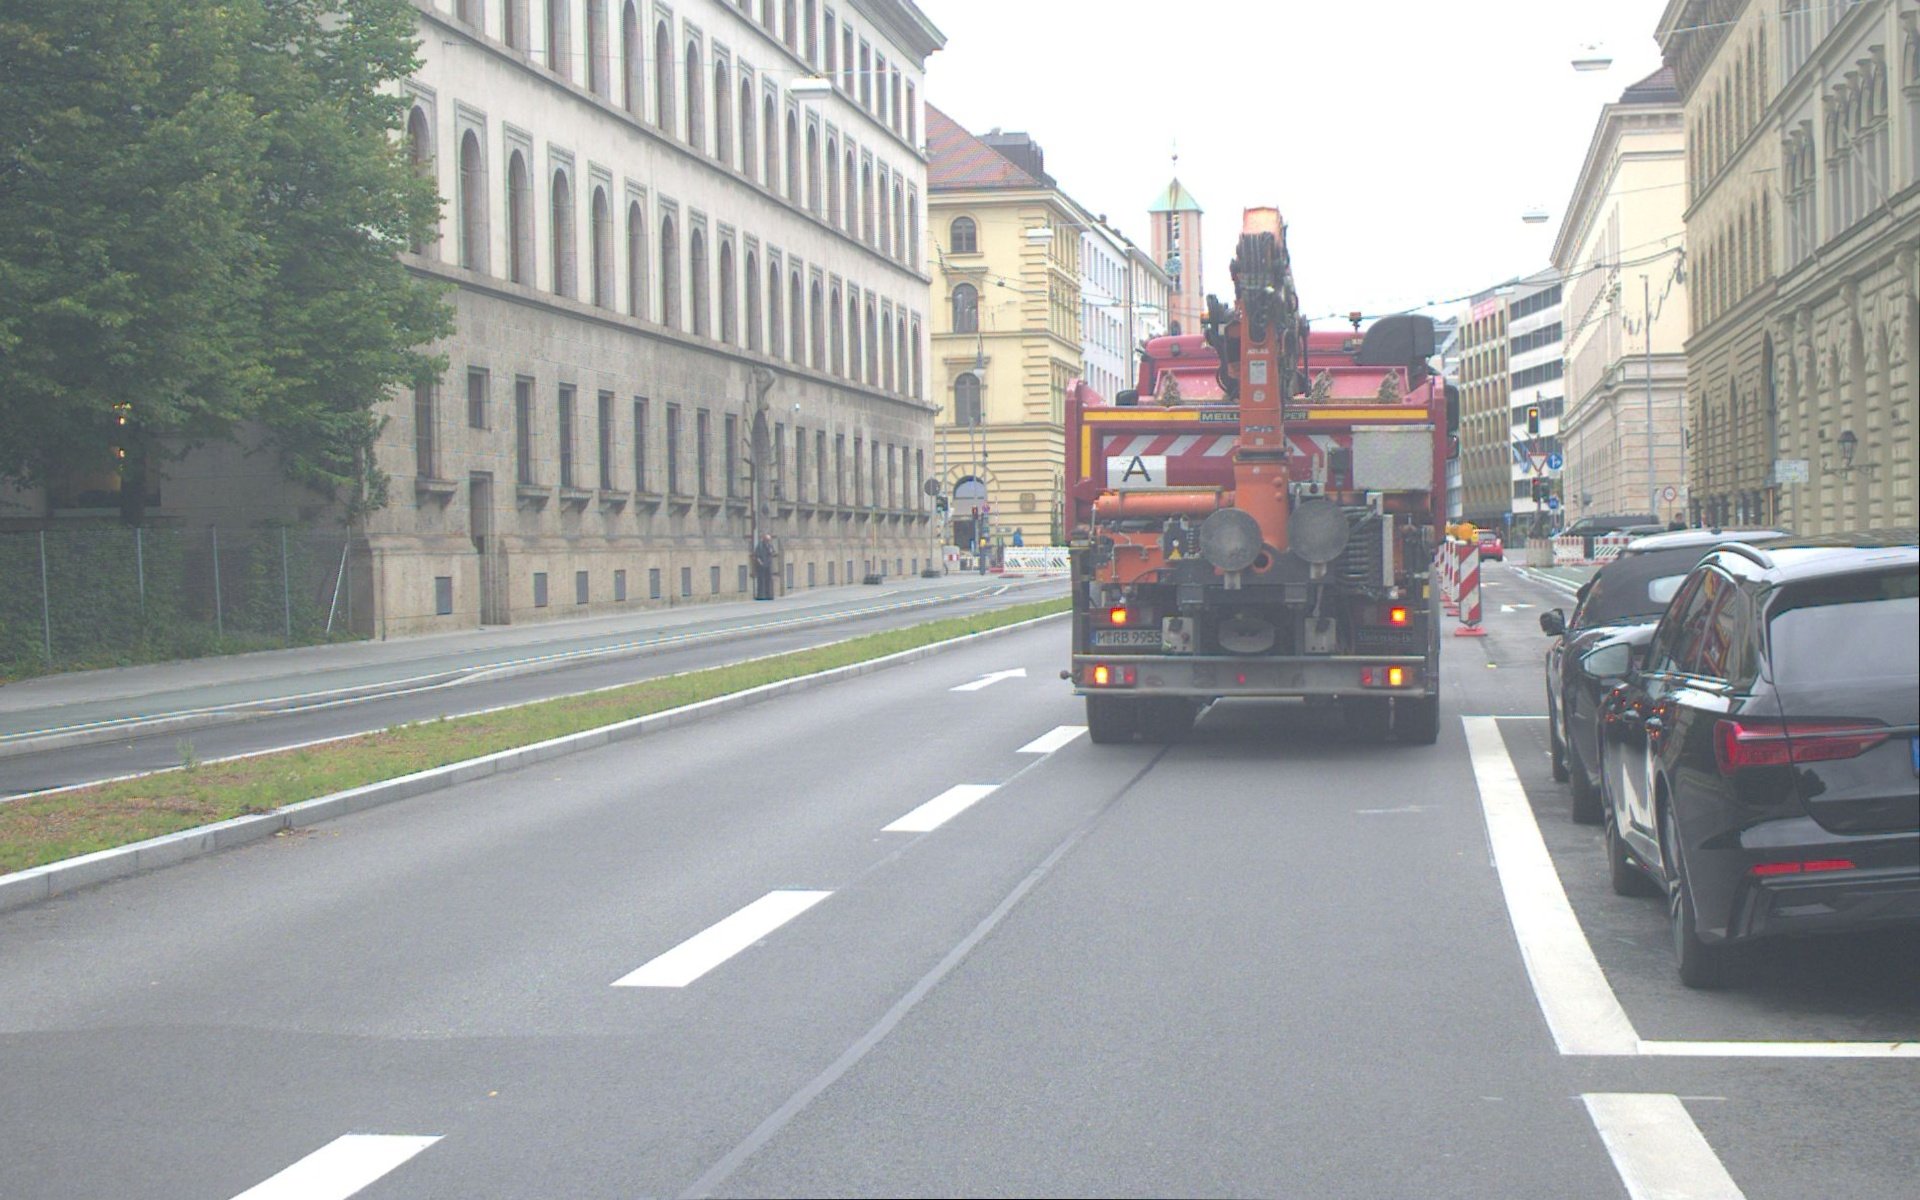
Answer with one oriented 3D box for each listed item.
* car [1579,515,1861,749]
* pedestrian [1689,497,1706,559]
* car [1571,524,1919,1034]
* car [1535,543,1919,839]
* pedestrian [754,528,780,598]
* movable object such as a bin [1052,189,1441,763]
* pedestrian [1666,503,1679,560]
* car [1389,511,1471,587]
[{"bbox_3d":[5.249,0.172,24.079,1.610,1.490,3.423,-1,1,7],"label":"car"},{"bbox_3d":[21.709,-2.122,101.199,0.446,1.830,0.556,-1,1,9],"label":"pedestrian"},{"bbox_3d":[3.296,0.483,12.494,1.802,1.475,4.686,-1,1,7],"label":"car"},{"bbox_3d":[4.061,0.399,18.715,1.680,1.381,4.425,0,1,7],"label":"car"},{"bbox_3d":[-5.082,-0.968,90.354,0.589,1.825,0.498,0,1,7],"label":"pedestrian"},{"bbox_3d":[2.134,-0.838,24.663,2.424,3.599,5.850,-1,1,6],"label":"movable object such as a bin"},{"bbox_3d":[20.998,-2.025,101.314,0.337,1.666,0.440,-1,1,9],"label":"pedestrian"},{"bbox_3d":[9.677,-1.066,70.893,1.610,1.490,3.423,-1,1,7],"label":"car"}]
